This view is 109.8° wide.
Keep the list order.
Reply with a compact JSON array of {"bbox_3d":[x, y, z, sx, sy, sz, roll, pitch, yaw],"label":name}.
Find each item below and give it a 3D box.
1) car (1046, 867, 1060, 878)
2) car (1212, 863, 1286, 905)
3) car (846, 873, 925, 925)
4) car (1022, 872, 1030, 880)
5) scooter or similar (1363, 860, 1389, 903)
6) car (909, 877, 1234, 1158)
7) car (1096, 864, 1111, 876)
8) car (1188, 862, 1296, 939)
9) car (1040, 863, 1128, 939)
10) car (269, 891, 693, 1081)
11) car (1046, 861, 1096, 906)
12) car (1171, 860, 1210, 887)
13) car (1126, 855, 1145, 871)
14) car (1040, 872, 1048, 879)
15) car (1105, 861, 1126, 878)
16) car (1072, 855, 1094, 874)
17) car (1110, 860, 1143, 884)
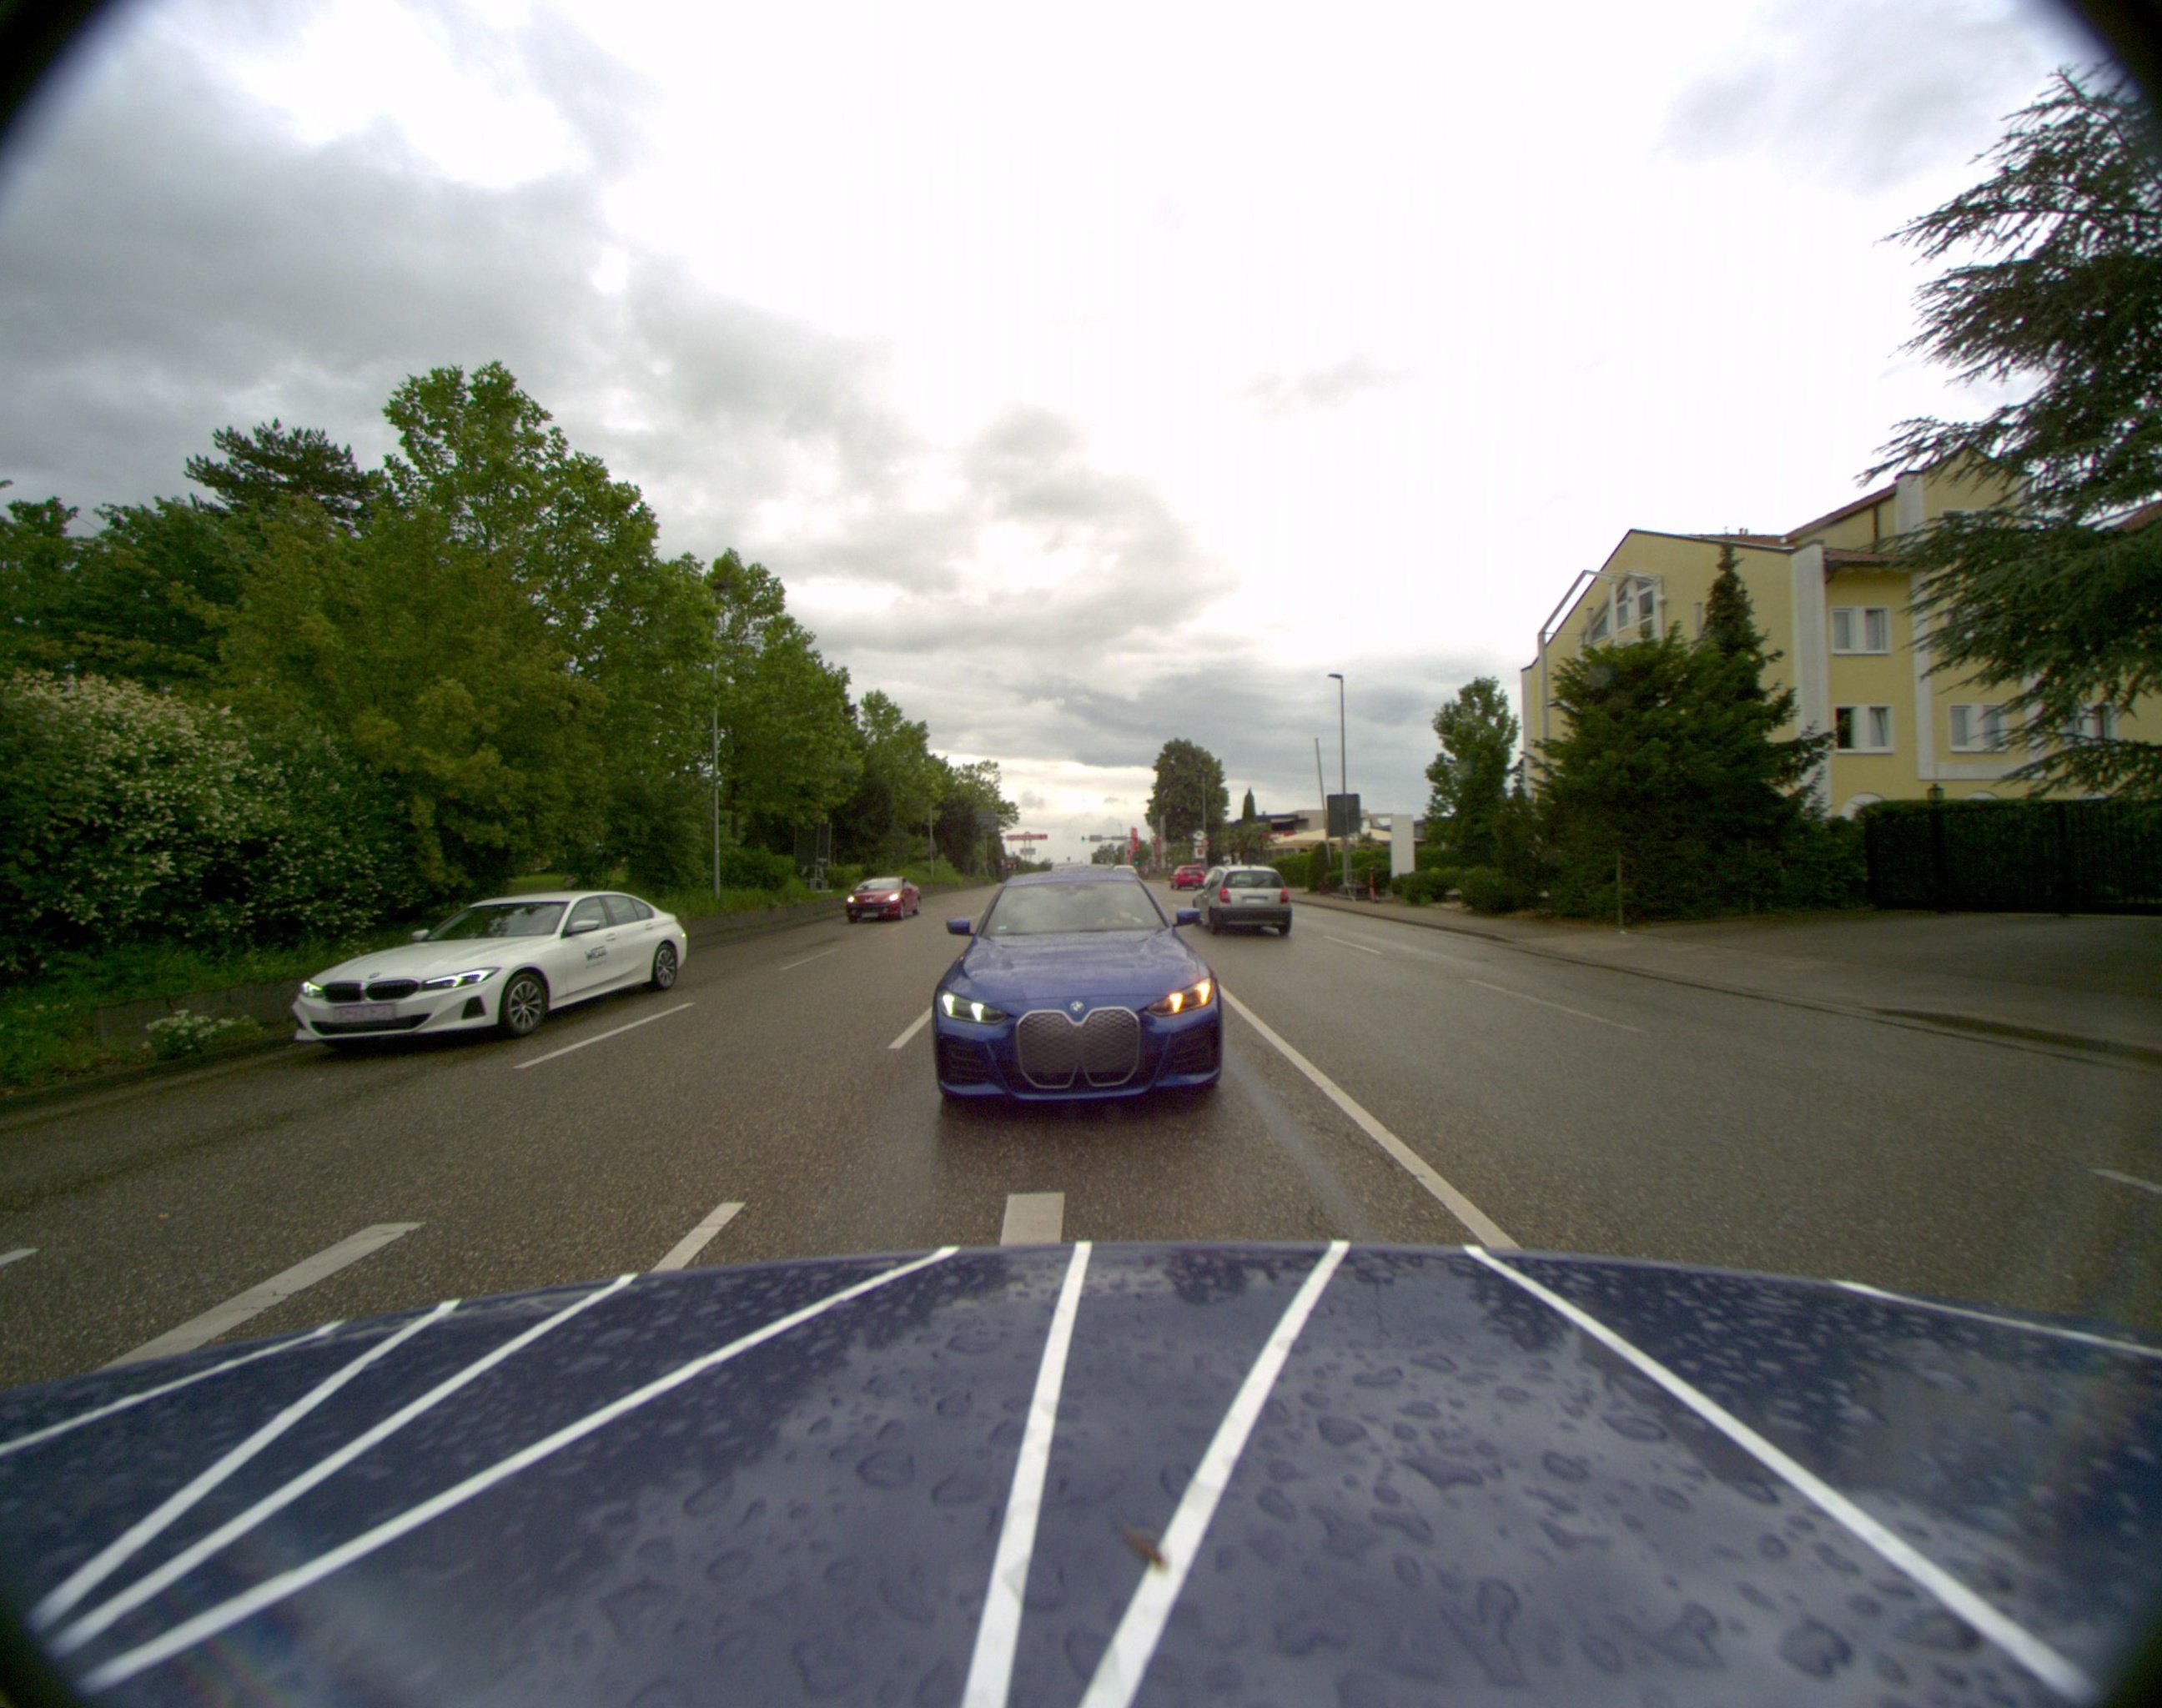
[{"bbox_3d":[-4.124,2.773,112.386,1.775,1.448,4.000,-1,0,1],"label":"car"},{"bbox_3d":[6.335,1.083,29.161,1.790,1.451,4.431,-1,0,-1],"label":"car"},{"bbox_3d":[-6.312,1.411,24.902,1.629,1.395,3.689,-3,0,-1],"label":"car"},{"bbox_3d":[-13.776,5.412,189.235,1.812,1.718,3.998,-3,1,-3],"label":"car"},{"bbox_3d":[10.063,0.925,25.957,0.505,1.398,1.882,-1,0,11],"label":"scooter or similar"},{"bbox_3d":[-0.048,0.989,6.417,1.803,1.399,4.272,-1,0,0],"label":"car"},{"bbox_3d":[2.910,2.026,98.016,1.764,1.418,3.780,-2,0,-1],"label":"car"},{"bbox_3d":[3.463,0.940,16.891,1.643,1.451,3.518,-1,0,0],"label":"car"},{"bbox_3d":[0.084,0.998,17.968,1.807,1.543,4.223,-1,0,0],"label":"car"},{"bbox_3d":[-6.529,1.301,9.046,1.669,1.418,4.304,-3,0,-2],"label":"car"},{"bbox_3d":[-0.355,1.085,29.646,1.807,1.543,4.000,-1,0,0],"label":"car"},{"bbox_3d":[6.423,1.129,45.002,1.699,1.467,3.780,-1,0,-1],"label":"car"},{"bbox_3d":[6.042,0.971,84.689,1.764,1.665,3.780,-2,0,-1],"label":"car"},{"bbox_3d":[-8.130,4.676,165.034,1.711,1.570,3.518,-1,0,-3],"label":"car"},{"bbox_3d":[3.034,1.380,67.899,1.699,1.345,3.780,1,0,0],"label":"car"},{"bbox_3d":[0.160,0.863,65.390,1.807,1.543,4.000,-1,0,0],"label":"car"},{"bbox_3d":[2.990,1.156,50.366,1.820,1.373,4.272,-4,0,0],"label":"car"}]
